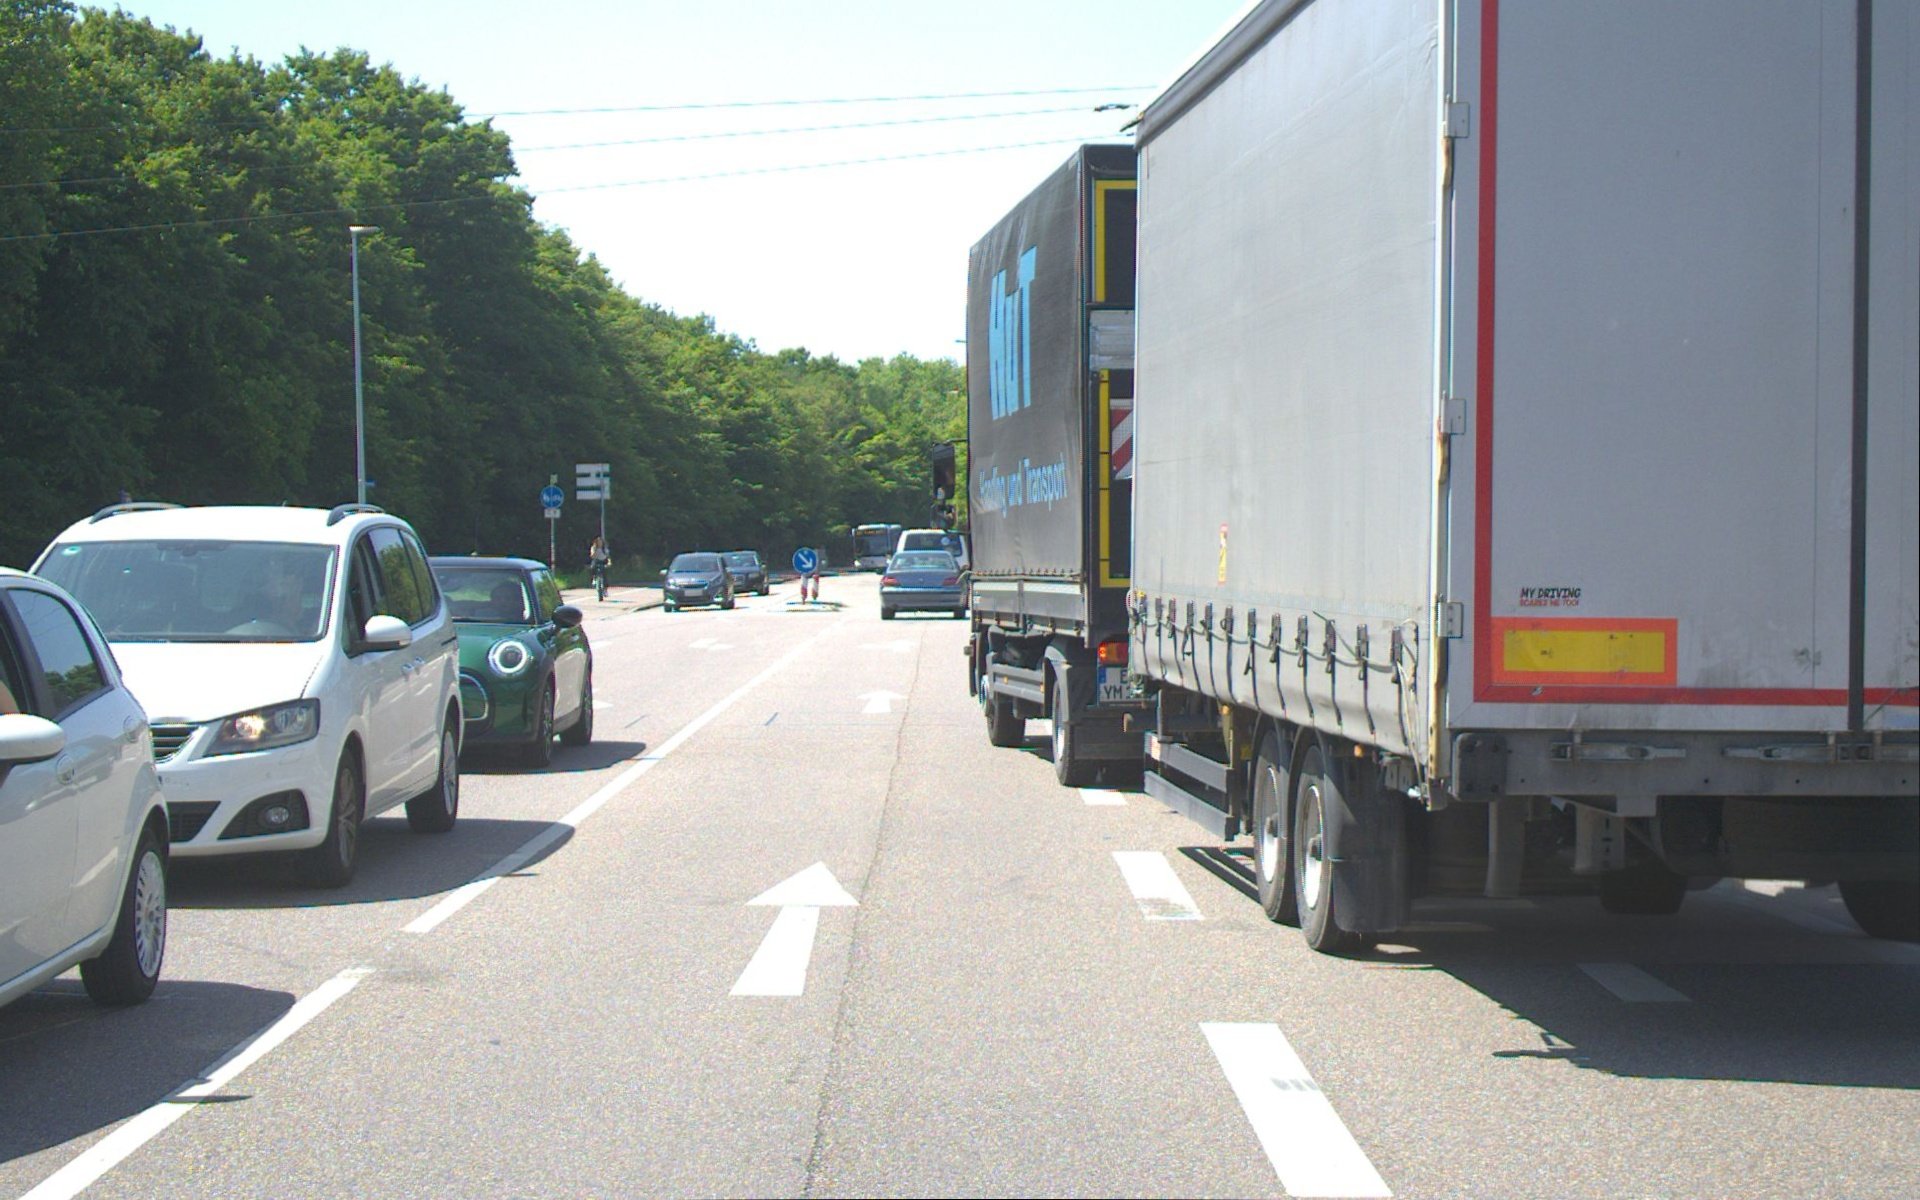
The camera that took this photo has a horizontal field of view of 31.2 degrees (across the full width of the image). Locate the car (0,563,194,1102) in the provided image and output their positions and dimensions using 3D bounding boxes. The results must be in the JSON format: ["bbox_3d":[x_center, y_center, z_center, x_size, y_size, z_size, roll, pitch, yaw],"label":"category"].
[{"bbox_3d":[-3.482,0.622,9.804,1.768,1.433,3.961,1,1,-1],"label":"car"}]

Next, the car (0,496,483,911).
[{"bbox_3d":[-3.552,0.373,16.633,1.811,1.717,4.831,0,1,0],"label":"car"}]

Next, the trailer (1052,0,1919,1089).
[{"bbox_3d":[2.432,-0.715,14.777,3.077,4.056,9.810,1,1,-4],"label":"trailer"}]

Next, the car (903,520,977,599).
[{"bbox_3d":[-0.478,-1.015,85.609,1.655,1.900,4.000,-1,1,2],"label":"car"}]

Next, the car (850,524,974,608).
[{"bbox_3d":[-0.938,-0.708,70.007,2.026,1.626,3.999,-1,1,6],"label":"car"}]

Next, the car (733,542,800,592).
[{"bbox_3d":[-6.089,-1.063,108.758,1.744,1.400,4.441,-3,2,1],"label":"car"}]

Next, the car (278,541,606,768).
[{"bbox_3d":[-3.588,0.324,24.434,1.723,1.457,3.990,0,1,0],"label":"car"}]

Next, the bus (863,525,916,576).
[{"bbox_3d":[-4.712,-3.379,231.593,2.750,3.034,11.938,-6,1,2],"label":"bus"}]

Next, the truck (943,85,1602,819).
[{"bbox_3d":[1.729,-0.890,23.095,3.077,4.056,7.960,0,1,-5],"label":"truck"}]

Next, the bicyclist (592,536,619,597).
[{"bbox_3d":[-9.947,-0.940,96.434,0.665,1.700,0.769,1,1,1],"label":"bicyclist"}]

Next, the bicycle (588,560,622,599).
[{"bbox_3d":[-9.954,-0.571,96.439,0.669,1.051,2.045,1,2,1],"label":"bicycle"}]

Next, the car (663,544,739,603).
[{"bbox_3d":[-6.620,-0.693,88.173,1.622,1.451,3.501,-2,1,0],"label":"car"}]
